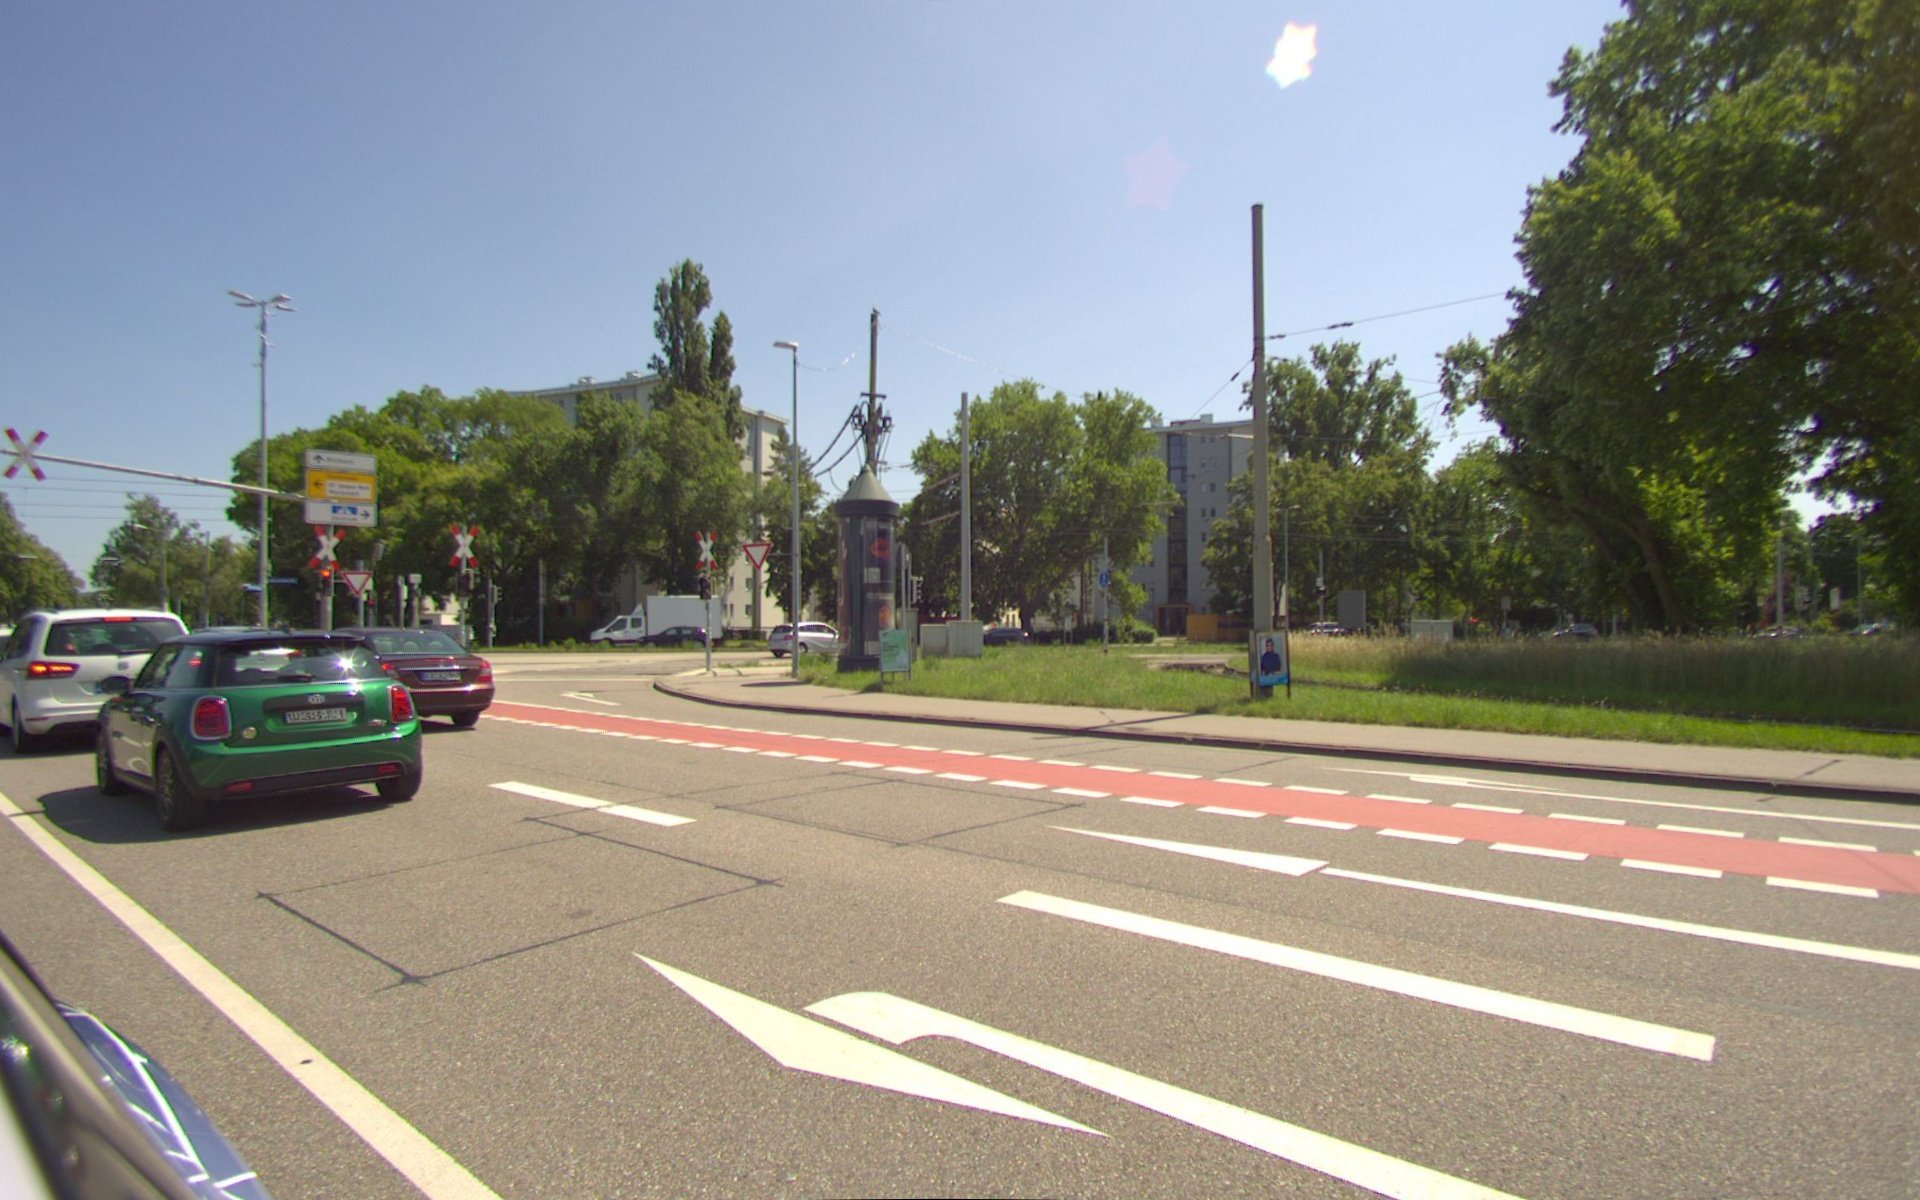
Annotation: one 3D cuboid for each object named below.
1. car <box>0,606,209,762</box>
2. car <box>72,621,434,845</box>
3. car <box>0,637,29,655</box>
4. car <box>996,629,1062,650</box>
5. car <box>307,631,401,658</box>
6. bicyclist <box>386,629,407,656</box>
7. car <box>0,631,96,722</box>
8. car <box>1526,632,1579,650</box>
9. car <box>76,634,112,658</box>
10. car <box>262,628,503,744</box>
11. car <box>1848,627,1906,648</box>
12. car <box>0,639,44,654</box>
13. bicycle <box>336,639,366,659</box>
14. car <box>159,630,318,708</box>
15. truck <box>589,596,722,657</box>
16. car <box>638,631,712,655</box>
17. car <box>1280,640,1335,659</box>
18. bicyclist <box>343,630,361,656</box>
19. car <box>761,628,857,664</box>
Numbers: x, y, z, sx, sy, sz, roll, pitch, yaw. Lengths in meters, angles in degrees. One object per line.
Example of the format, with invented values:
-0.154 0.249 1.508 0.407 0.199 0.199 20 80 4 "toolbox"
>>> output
-11.819 1.011 13.601 4.828 1.736 1.793 -2 -2 41 "car"
-6.231 0.957 8.740 3.989 1.474 1.705 -2 -2 42 "car"
-102.942 4.976 109.071 3.715 1.742 1.764 0 -3 -42 "car"
4.606 2.635 67.883 3.931 1.296 1.892 0 -4 -20 "car"
-33.434 2.436 55.919 4.142 1.436 1.854 0 -3 -18 "car"
-33.297 2.521 59.825 0.905 1.556 0.642 1 0 26 "bicyclist"
-16.921 1.305 17.999 3.958 1.448 1.750 -2 -1 40 "car"
46.291 3.235 79.090 3.582 1.296 1.610 0 -4 -20 "car"
-62.988 3.365 73.684 1.782 1.731 4.351 1 -3 -38 "car"
-8.630 1.172 14.979 4.282 1.468 1.742 -2 -2 40 "car"
81.448 3.364 89.904 3.931 1.745 2.006 0 -4 -17 "car"
-98.562 4.896 106.273 3.438 1.487 1.586 0 -3 -42 "car"
-35.368 2.833 58.779 1.796 1.071 0.611 -1 -1 27 "bicycle"
-15.202 1.382 21.226 4.411 1.467 1.772 -2 -3 42 "car"
-18.492 1.615 61.651 7.579 3.560 2.596 0 -4 -18 "truck"
-16.123 2.436 57.209 3.931 1.296 1.752 0 -4 -20 "car"
25.394 3.591 73.971 3.582 1.296 1.610 0 -4 -20 "car"
-35.291 2.492 58.743 0.626 1.479 0.611 1 0 26 "bicyclist"
-6.793 2.105 45.928 1.746 1.558 4.199 -5 -5 41 "car"
